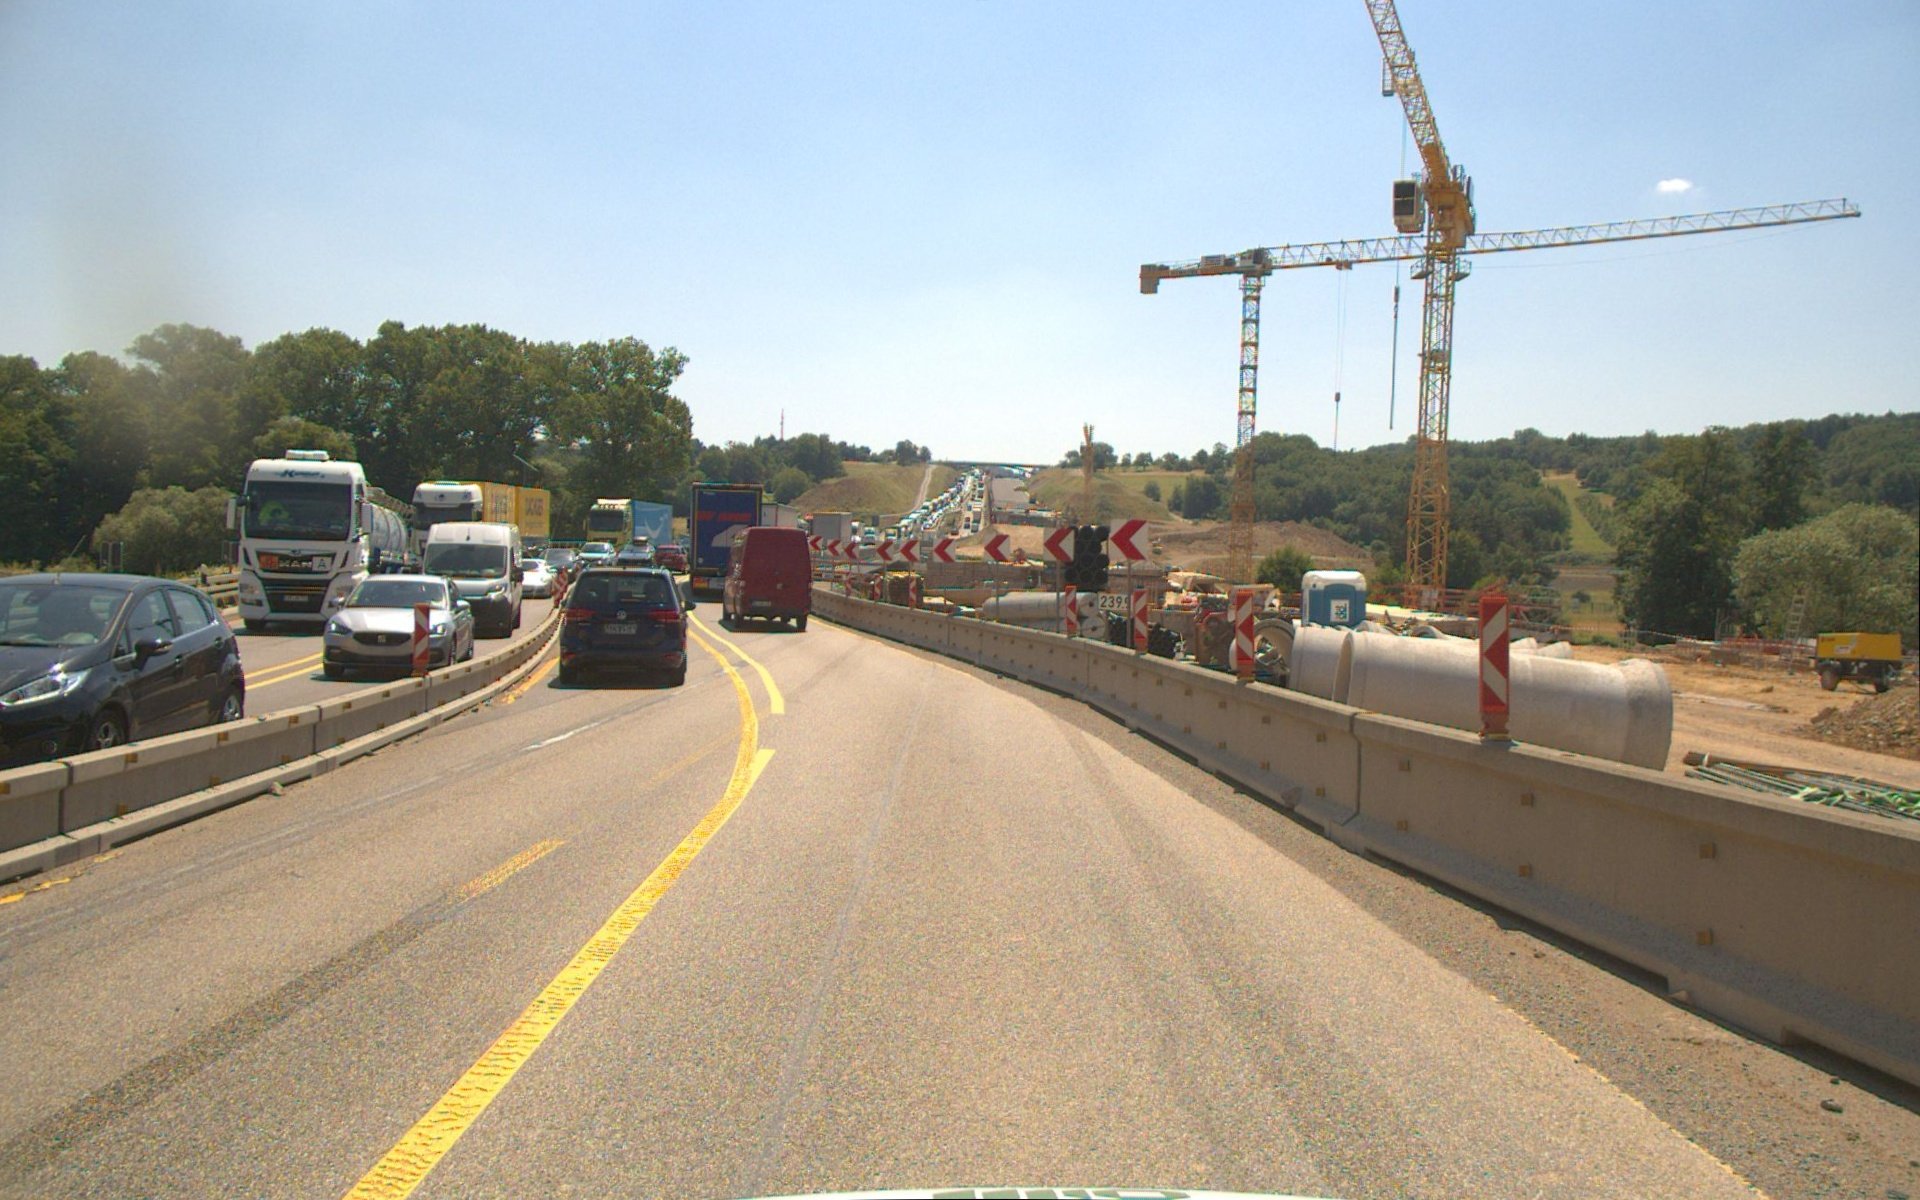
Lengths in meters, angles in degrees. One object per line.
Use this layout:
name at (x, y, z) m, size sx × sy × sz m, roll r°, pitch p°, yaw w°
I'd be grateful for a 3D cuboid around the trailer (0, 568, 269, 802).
trailer at (-6.644, 0.523, 12.252) m, size 1.632 × 1.456 × 3.996 m, roll 1°, pitch 0°, yaw -5°

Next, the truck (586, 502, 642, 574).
truck at (-21.930, -3.912, 105.006) m, size 2.573 × 4.344 × 4.729 m, roll 3°, pitch 1°, yaw -3°

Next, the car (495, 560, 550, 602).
car at (-15.328, -0.698, 58.109) m, size 1.647 × 1.286 × 4.323 m, roll 2°, pitch 2°, yaw -13°

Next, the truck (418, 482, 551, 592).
truck at (-21.457, -2.787, 75.705) m, size 2.752 × 4.417 × 15.362 m, roll 2°, pitch 1°, yaw -5°

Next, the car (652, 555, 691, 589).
car at (-14.765, -1.441, 84.817) m, size 1.799 × 1.664 × 4.098 m, roll 1°, pitch 1°, yaw -9°

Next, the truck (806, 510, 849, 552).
truck at (-12.024, -6.222, 150.458) m, size 3.118 × 3.029 × 8.898 m, roll 1°, pitch -2°, yaw 0°

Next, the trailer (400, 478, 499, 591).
trailer at (-20.676, -2.614, 67.290) m, size 2.811 × 4.303 × 5.212 m, roll 1°, pitch 1°, yaw -6°

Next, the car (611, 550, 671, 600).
car at (-11.320, -0.897, 58.911) m, size 1.799 × 1.664 × 4.382 m, roll 1°, pitch 1°, yaw -7°

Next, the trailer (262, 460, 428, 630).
trailer at (-15.933, -1.334, 43.583) m, size 2.481 × 3.855 × 10.214 m, roll 2°, pitch 0°, yaw -12°

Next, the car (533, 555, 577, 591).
car at (-17.205, -1.173, 70.364) m, size 1.647 × 1.385 × 4.489 m, roll 2°, pitch 2°, yaw -13°

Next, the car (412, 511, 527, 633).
car at (-11.321, -0.597, 38.549) m, size 2.035 × 2.547 × 6.463 m, roll 2°, pitch 0°, yaw -12°

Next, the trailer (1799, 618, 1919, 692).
trailer at (21.046, 1.234, 37.858) m, size 1.591 × 1.512 × 3.824 m, roll 2°, pitch 0°, yaw -3°

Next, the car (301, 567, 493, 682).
car at (-8.254, 0.291, 24.640) m, size 1.810 × 1.489 × 4.516 m, roll 2°, pitch 1°, yaw -7°

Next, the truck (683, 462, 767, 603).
truck at (-9.041, -2.549, 63.219) m, size 2.890 × 5.031 × 6.728 m, roll 1°, pitch 2°, yaw -9°

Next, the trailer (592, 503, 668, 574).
trailer at (-22.132, -4.072, 111.785) m, size 2.594 × 4.367 × 13.306 m, roll 3°, pitch 1°, yaw -1°

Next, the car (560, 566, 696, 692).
car at (-4.879, 0.360, 24.742) m, size 1.701 × 1.664 × 4.382 m, roll 2°, pitch 1°, yaw -8°

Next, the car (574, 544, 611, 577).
car at (-18.522, -2.004, 83.443) m, size 1.607 × 1.511 × 3.992 m, roll 2°, pitch 3°, yaw -10°

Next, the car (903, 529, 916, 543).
car at (-6.868, -8.774, 226.770) m, size 1.584 × 1.729 × 3.890 m, roll 2°, pitch 2°, yaw 0°

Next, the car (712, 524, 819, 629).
car at (-5.419, -0.659, 45.446) m, size 2.114 × 2.656 × 5.417 m, roll 1°, pitch 1°, yaw -15°

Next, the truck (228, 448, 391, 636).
truck at (-14.680, -1.247, 37.662) m, size 2.489 × 3.888 × 4.936 m, roll 2°, pitch 0°, yaw -12°

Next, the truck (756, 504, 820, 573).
truck at (-10.602, -3.811, 102.634) m, size 3.116 × 4.058 × 6.743 m, roll 2°, pitch 2°, yaw 0°
